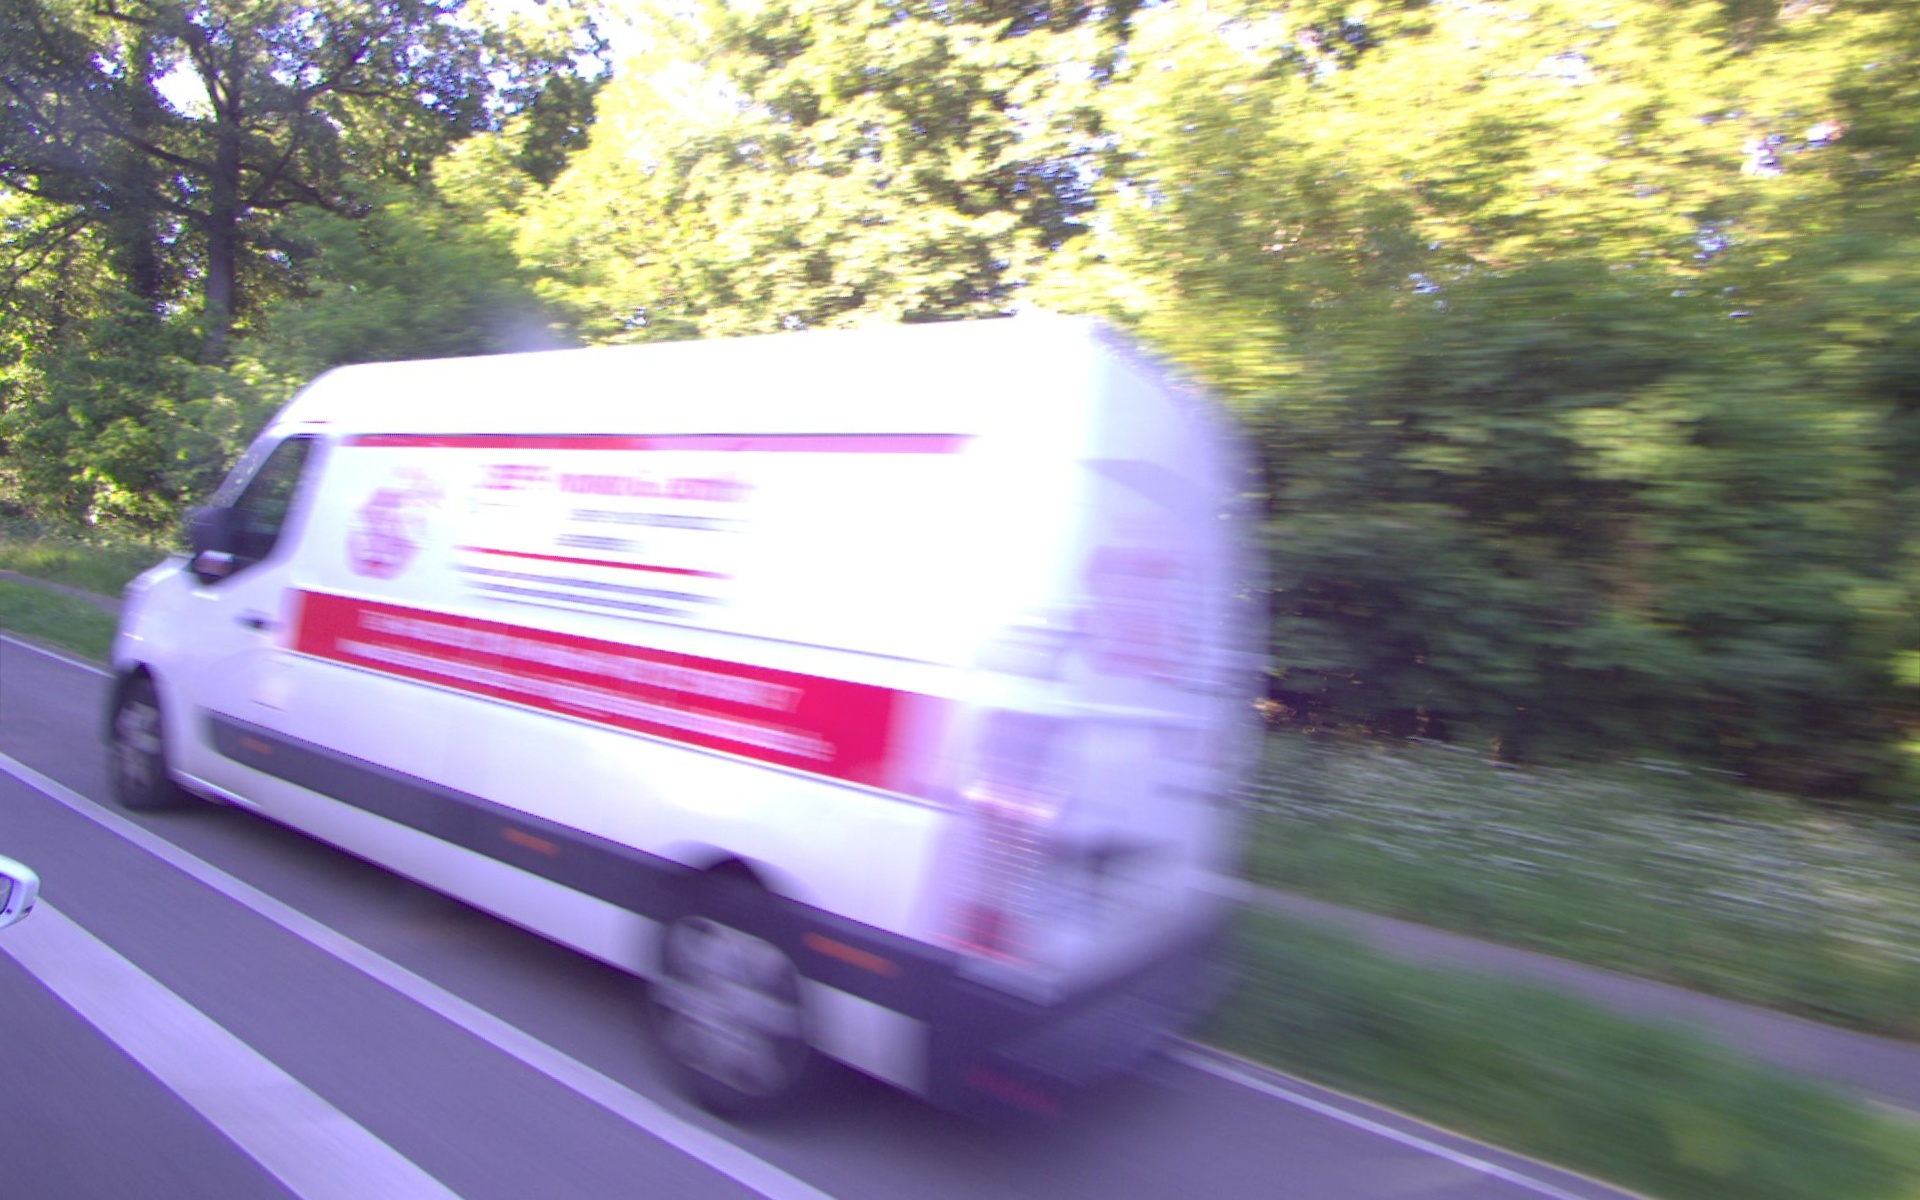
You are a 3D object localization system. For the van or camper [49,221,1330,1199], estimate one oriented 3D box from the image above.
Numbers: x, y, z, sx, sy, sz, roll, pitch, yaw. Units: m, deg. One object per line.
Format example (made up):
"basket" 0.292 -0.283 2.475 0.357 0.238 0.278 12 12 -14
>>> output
"van or camper" -1.805 0.191 4.840 6.202 2.512 2.128 7 -1 33
